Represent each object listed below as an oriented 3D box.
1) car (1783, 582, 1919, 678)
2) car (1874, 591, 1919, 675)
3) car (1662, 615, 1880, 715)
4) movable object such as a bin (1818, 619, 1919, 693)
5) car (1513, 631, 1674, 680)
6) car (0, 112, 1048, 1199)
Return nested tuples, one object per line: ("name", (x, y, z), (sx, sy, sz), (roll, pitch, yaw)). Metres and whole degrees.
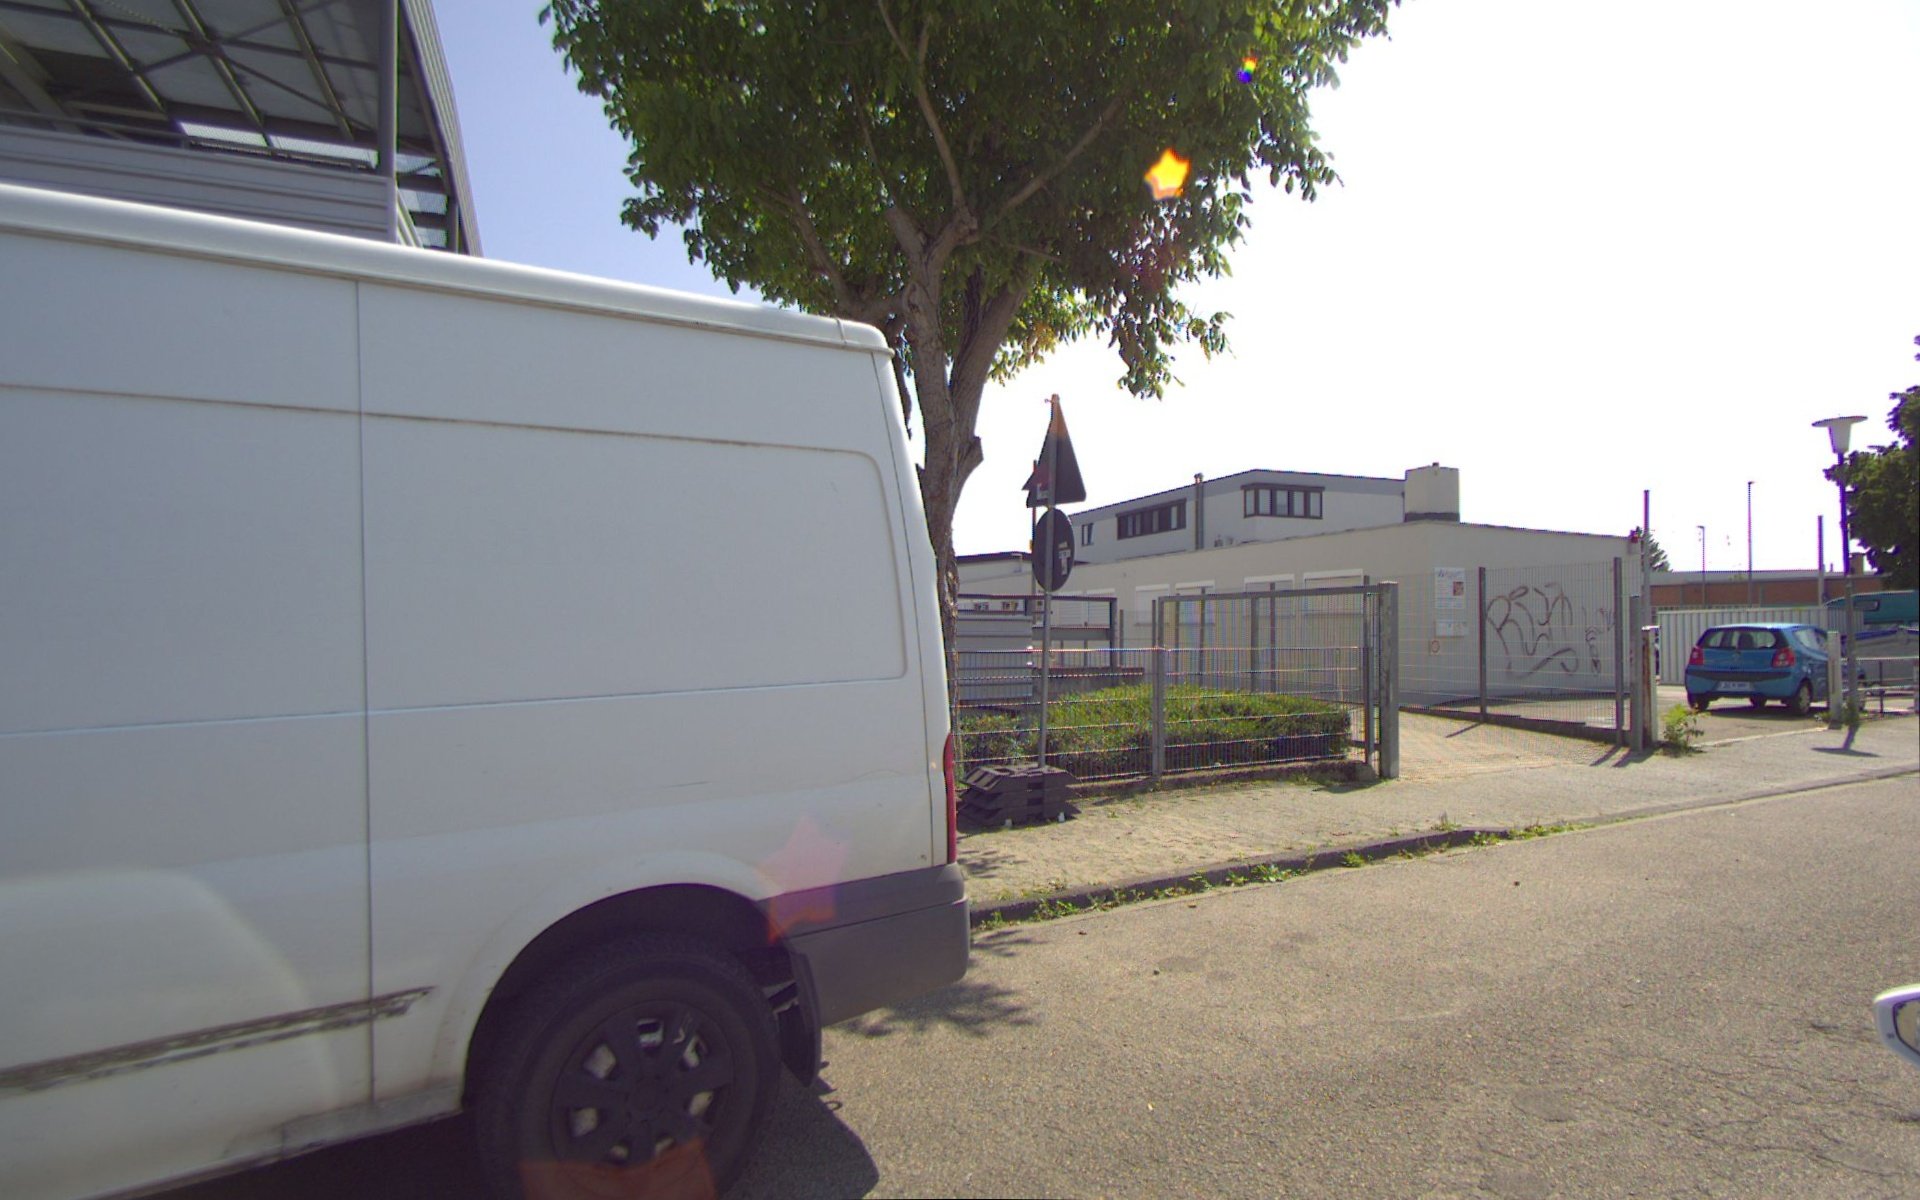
("car", (25.858, 0.840, 28.063), (1.757, 2.546, 4.065), (1, -2, -31))
("car", (30.248, 0.982, 29.968), (1.757, 2.546, 4.065), (1, -2, -31))
("car", (14.018, 1.082, 17.343), (3.634, 1.550, 1.805), (1, -3, -32))
("movable object such as a bin", (21.126, 1.205, 22.006), (2.690, 1.530, 2.620), (1, -2, -24))
("car", (20.415, 1.779, 32.543), (1.730, 1.474, 4.130), (1, -2, -26))
("car", (-2.459, 0.374, 2.438), (5.171, 2.397, 1.995), (1, -3, -32))
